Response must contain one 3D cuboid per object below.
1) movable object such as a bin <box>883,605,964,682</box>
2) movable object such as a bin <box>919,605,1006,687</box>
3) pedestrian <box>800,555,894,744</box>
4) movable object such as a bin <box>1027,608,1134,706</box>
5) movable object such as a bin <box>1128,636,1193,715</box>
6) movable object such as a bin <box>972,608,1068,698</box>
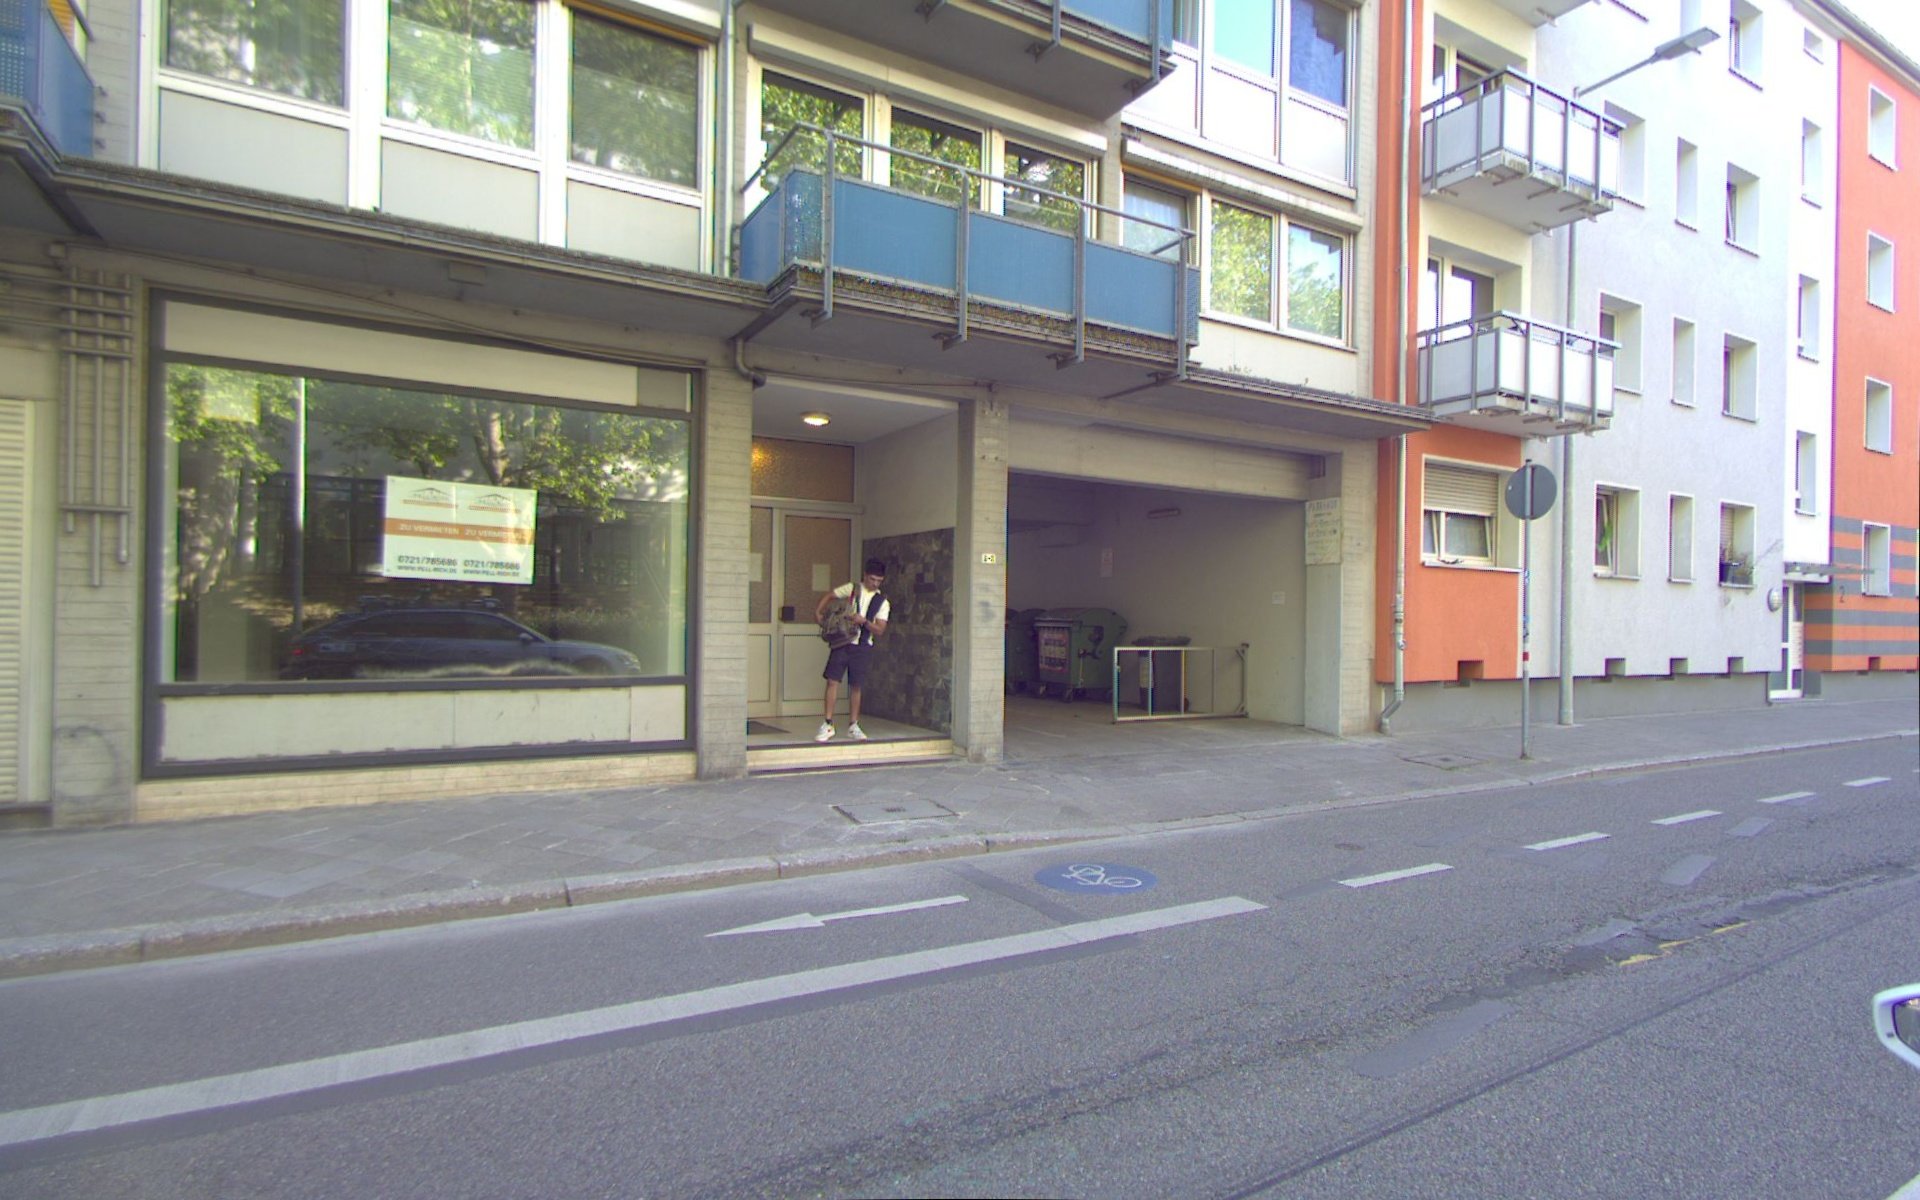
[{"bbox_3d":[-0.737,0.838,19.798,1.120,1.444,1.268,2,0,-28],"label":"movable object such as a bin"},{"bbox_3d":[0.035,0.835,18.707,1.120,1.444,1.268,2,0,-28],"label":"movable object such as a bin"},{"bbox_3d":[-1.030,0.441,9.256,0.778,1.639,0.836,2,0,-5],"label":"pedestrian"},{"bbox_3d":[1.880,0.877,15.822,1.120,1.444,1.268,2,0,-28],"label":"movable object such as a bin"},{"bbox_3d":[2.892,1.076,14.497,0.713,1.094,0.533,2,0,-29],"label":"movable object such as a bin"},{"bbox_3d":[1.012,0.880,17.163,1.120,1.444,1.268,2,0,-28],"label":"movable object such as a bin"}]
